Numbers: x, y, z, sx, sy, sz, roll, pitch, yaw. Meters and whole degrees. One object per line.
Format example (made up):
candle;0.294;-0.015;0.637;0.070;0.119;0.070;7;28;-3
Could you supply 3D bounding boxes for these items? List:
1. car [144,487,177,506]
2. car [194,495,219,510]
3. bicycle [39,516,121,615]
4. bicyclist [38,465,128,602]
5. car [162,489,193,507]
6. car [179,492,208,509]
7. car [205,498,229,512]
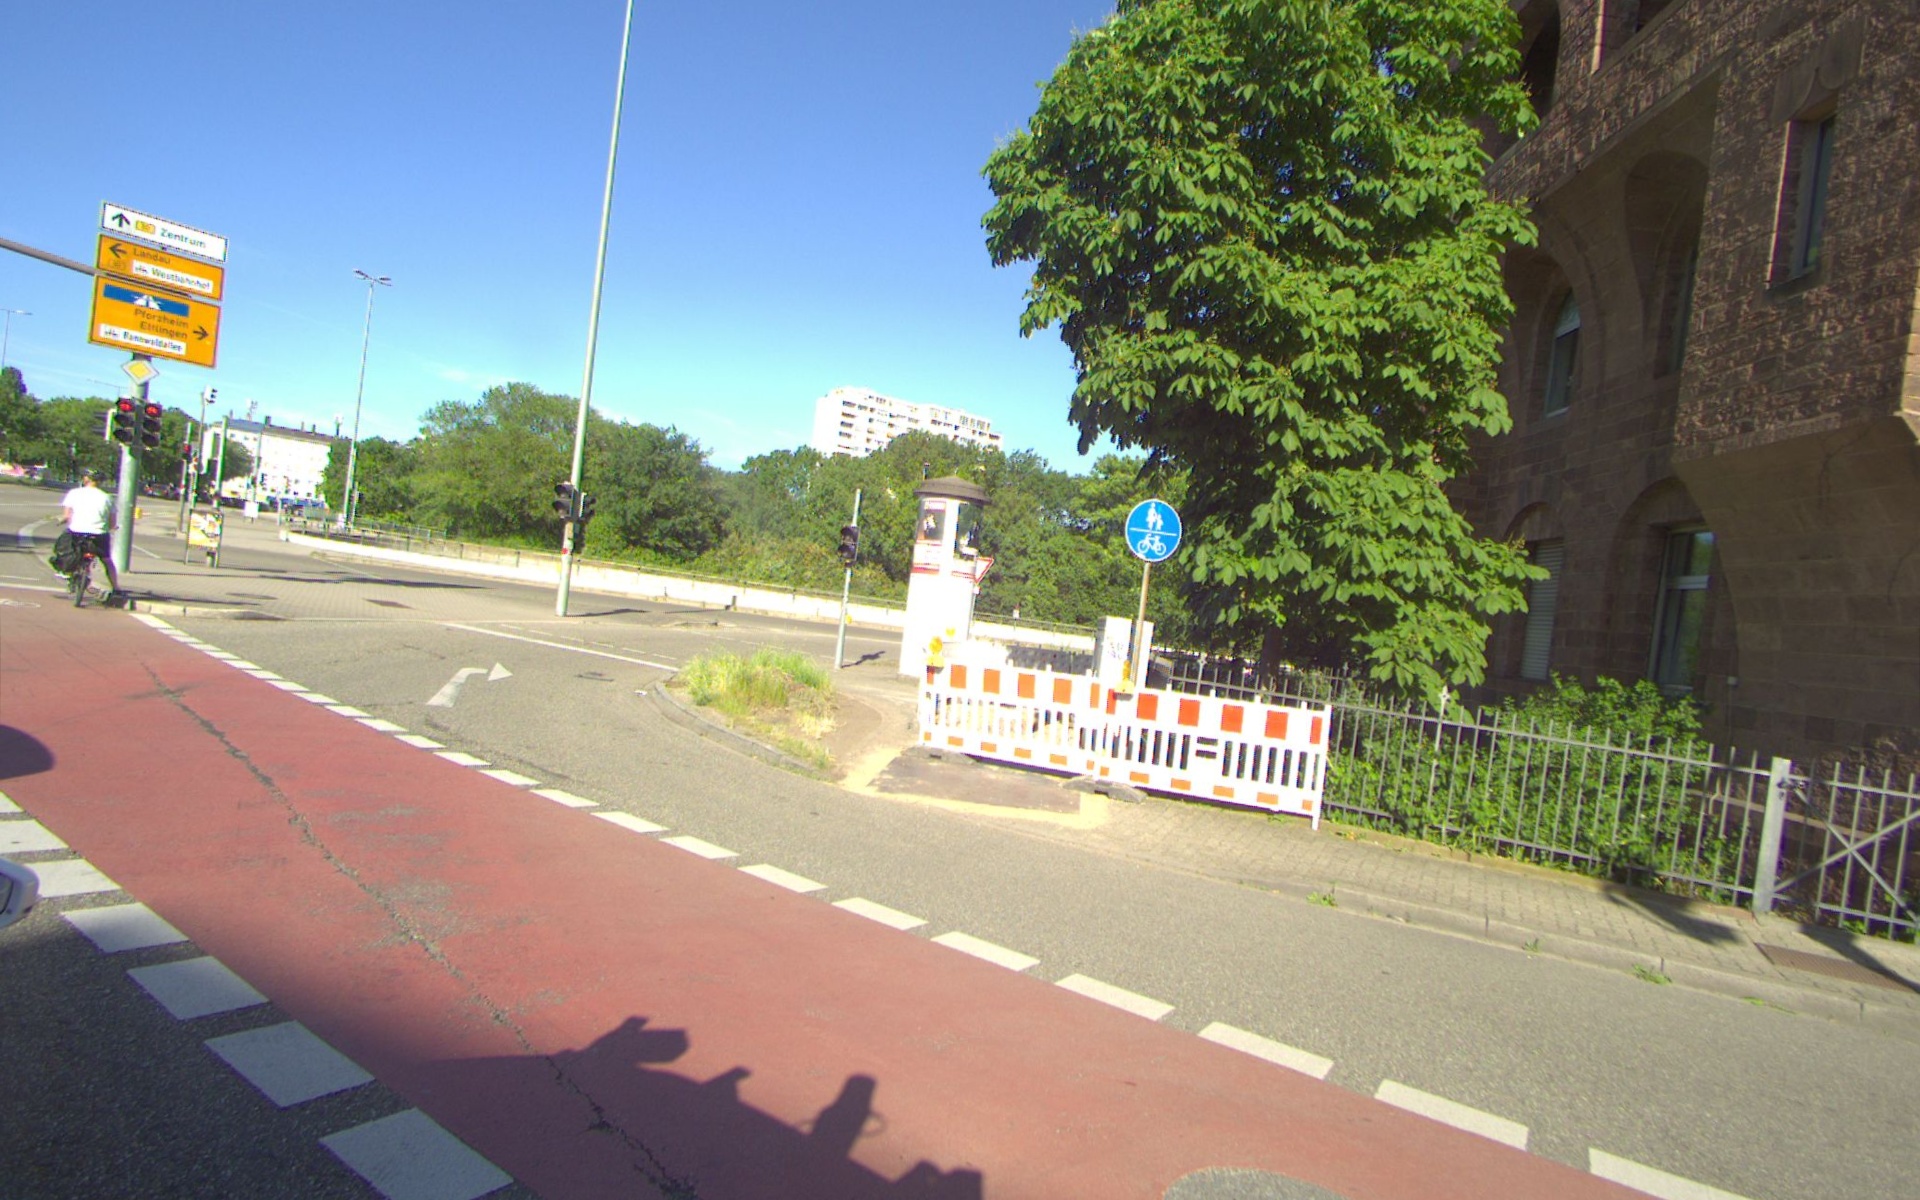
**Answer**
car;-82.741;-10.670;104.155;1.931;1.547;4.064;7;0;-30
car;-96.958;-12.482;129.460;1.930;1.547;4.065;7;0;-29
bicycle;-11.873;-0.487;13.561;0.689;1.115;1.804;8;0;-43
bicyclist;-11.765;-0.898;13.497;0.722;1.680;1.099;8;1;-43
car;-85.776;-11.136;110.355;1.930;1.547;4.065;7;0;-29
car;-89.073;-11.533;116.910;1.930;1.547;4.066;7;0;-29
car;-101.380;-12.990;137.253;1.930;1.547;4.065;7;0;-29
